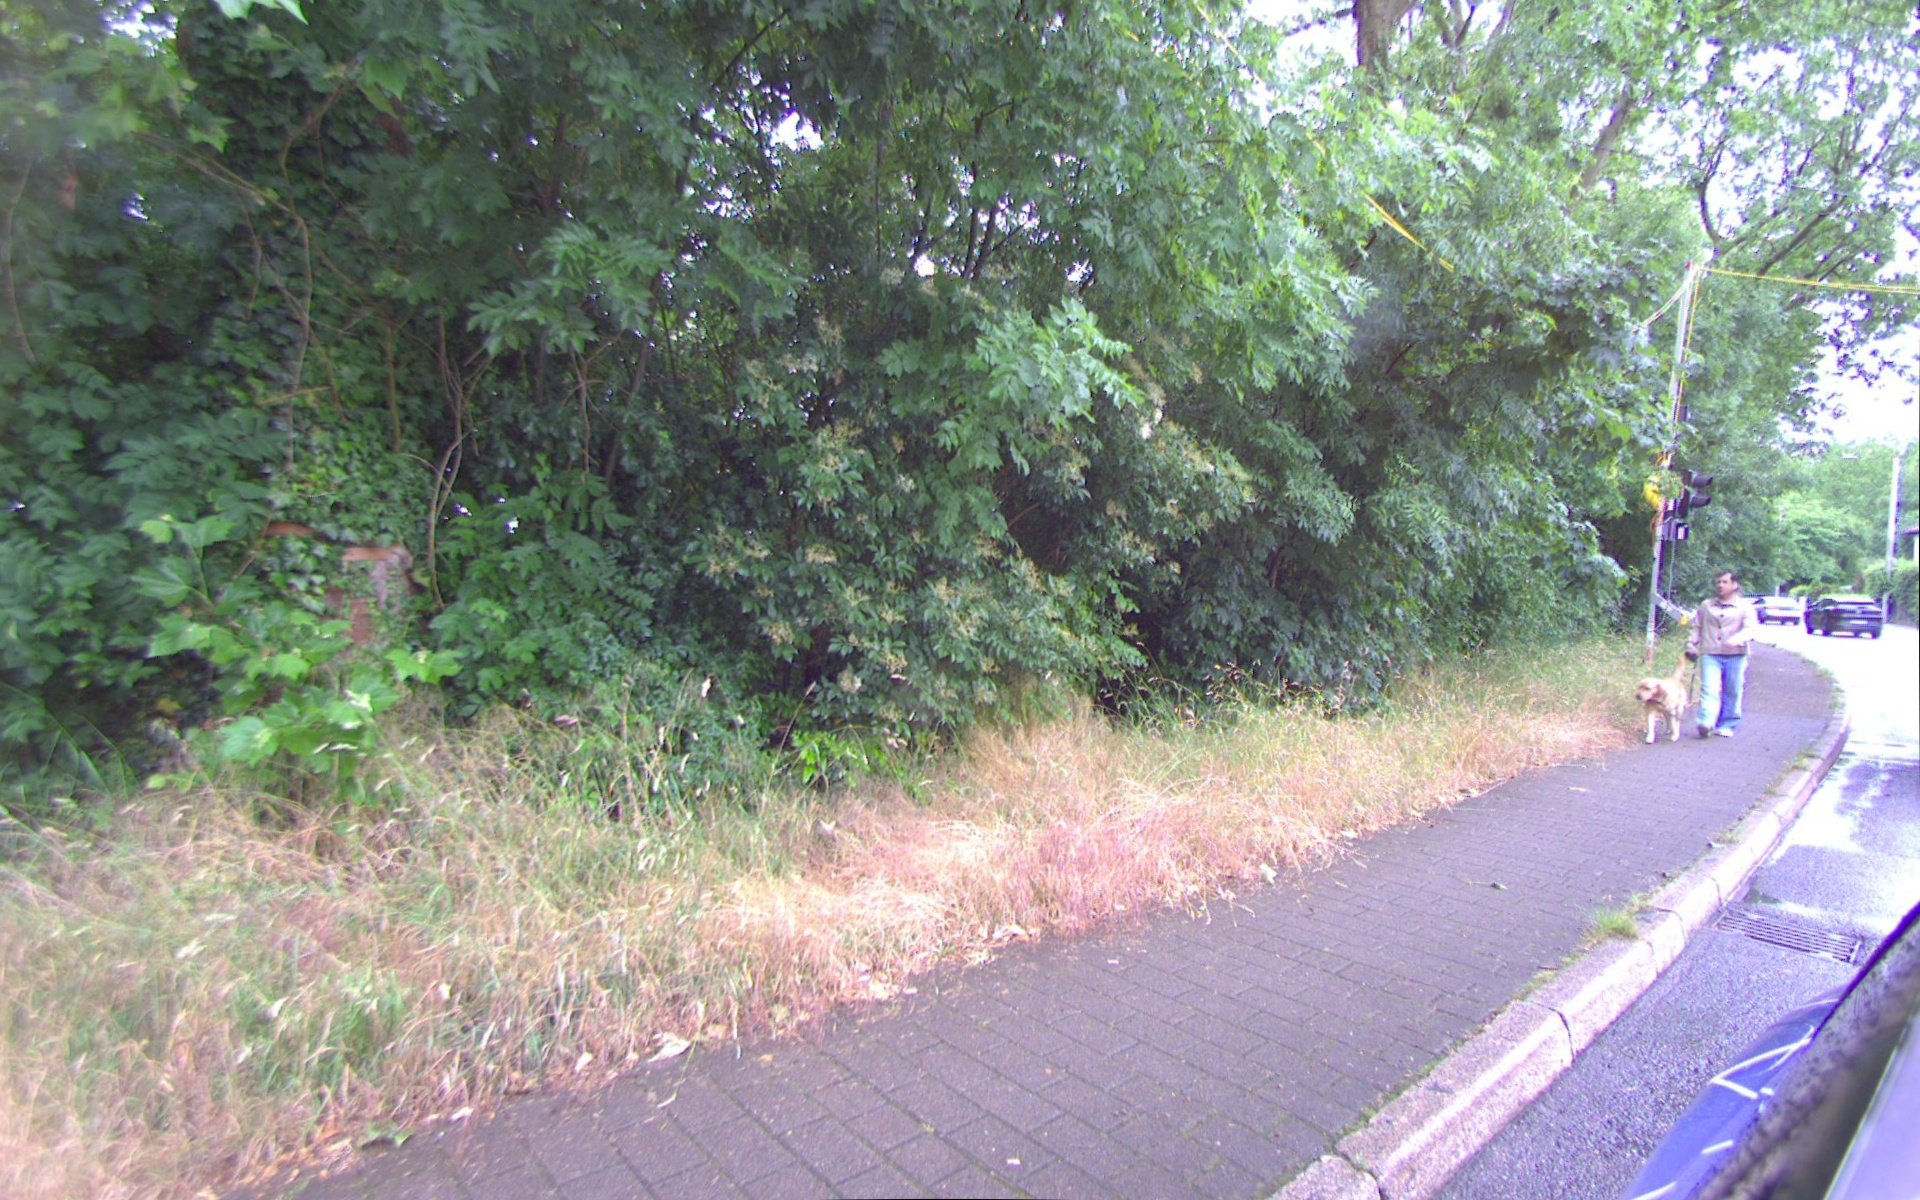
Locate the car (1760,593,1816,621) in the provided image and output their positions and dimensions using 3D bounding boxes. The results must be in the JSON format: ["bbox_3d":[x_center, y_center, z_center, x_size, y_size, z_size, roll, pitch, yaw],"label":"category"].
[{"bbox_3d":[47.140,0.375,57.726,1.845,1.547,4.764,0,0,32],"label":"car"}]

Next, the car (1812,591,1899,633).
[{"bbox_3d":[36.771,0.456,41.656,1.857,1.642,4.120,0,0,30],"label":"car"}]

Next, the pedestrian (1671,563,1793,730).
[{"bbox_3d":[7.506,0.418,9.845,0.771,1.517,0.734,0,3,-42],"label":"pedestrian"}]

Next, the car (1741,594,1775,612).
[{"bbox_3d":[64.935,0.216,82.381,1.676,1.445,3.734,1,1,31],"label":"car"}]
